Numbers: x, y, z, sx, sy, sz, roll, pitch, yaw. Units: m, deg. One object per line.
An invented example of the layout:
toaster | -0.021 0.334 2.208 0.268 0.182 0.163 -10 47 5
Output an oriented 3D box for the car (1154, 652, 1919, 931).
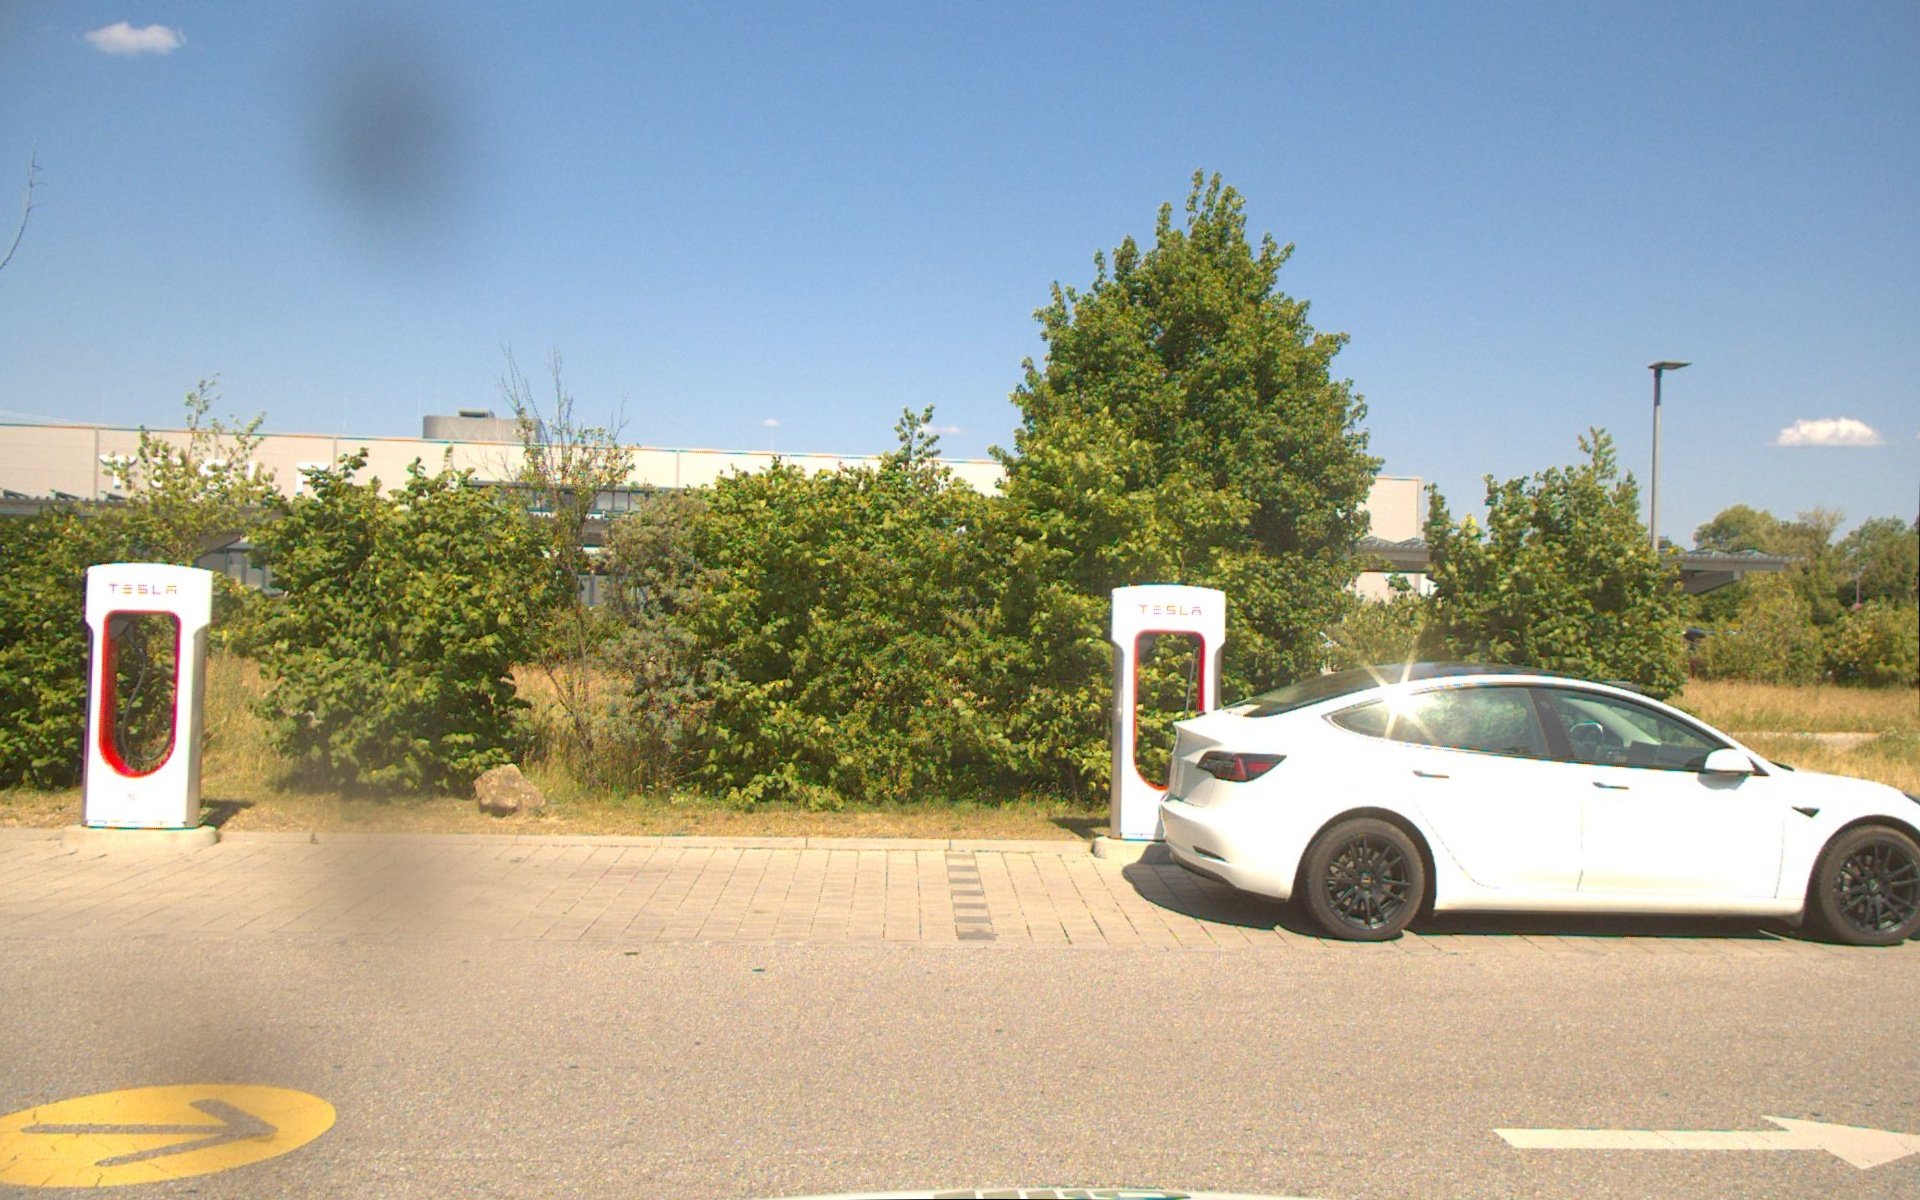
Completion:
car | 3.449 1.053 9.661 4.346 1.402 1.821 1 -1 -4
